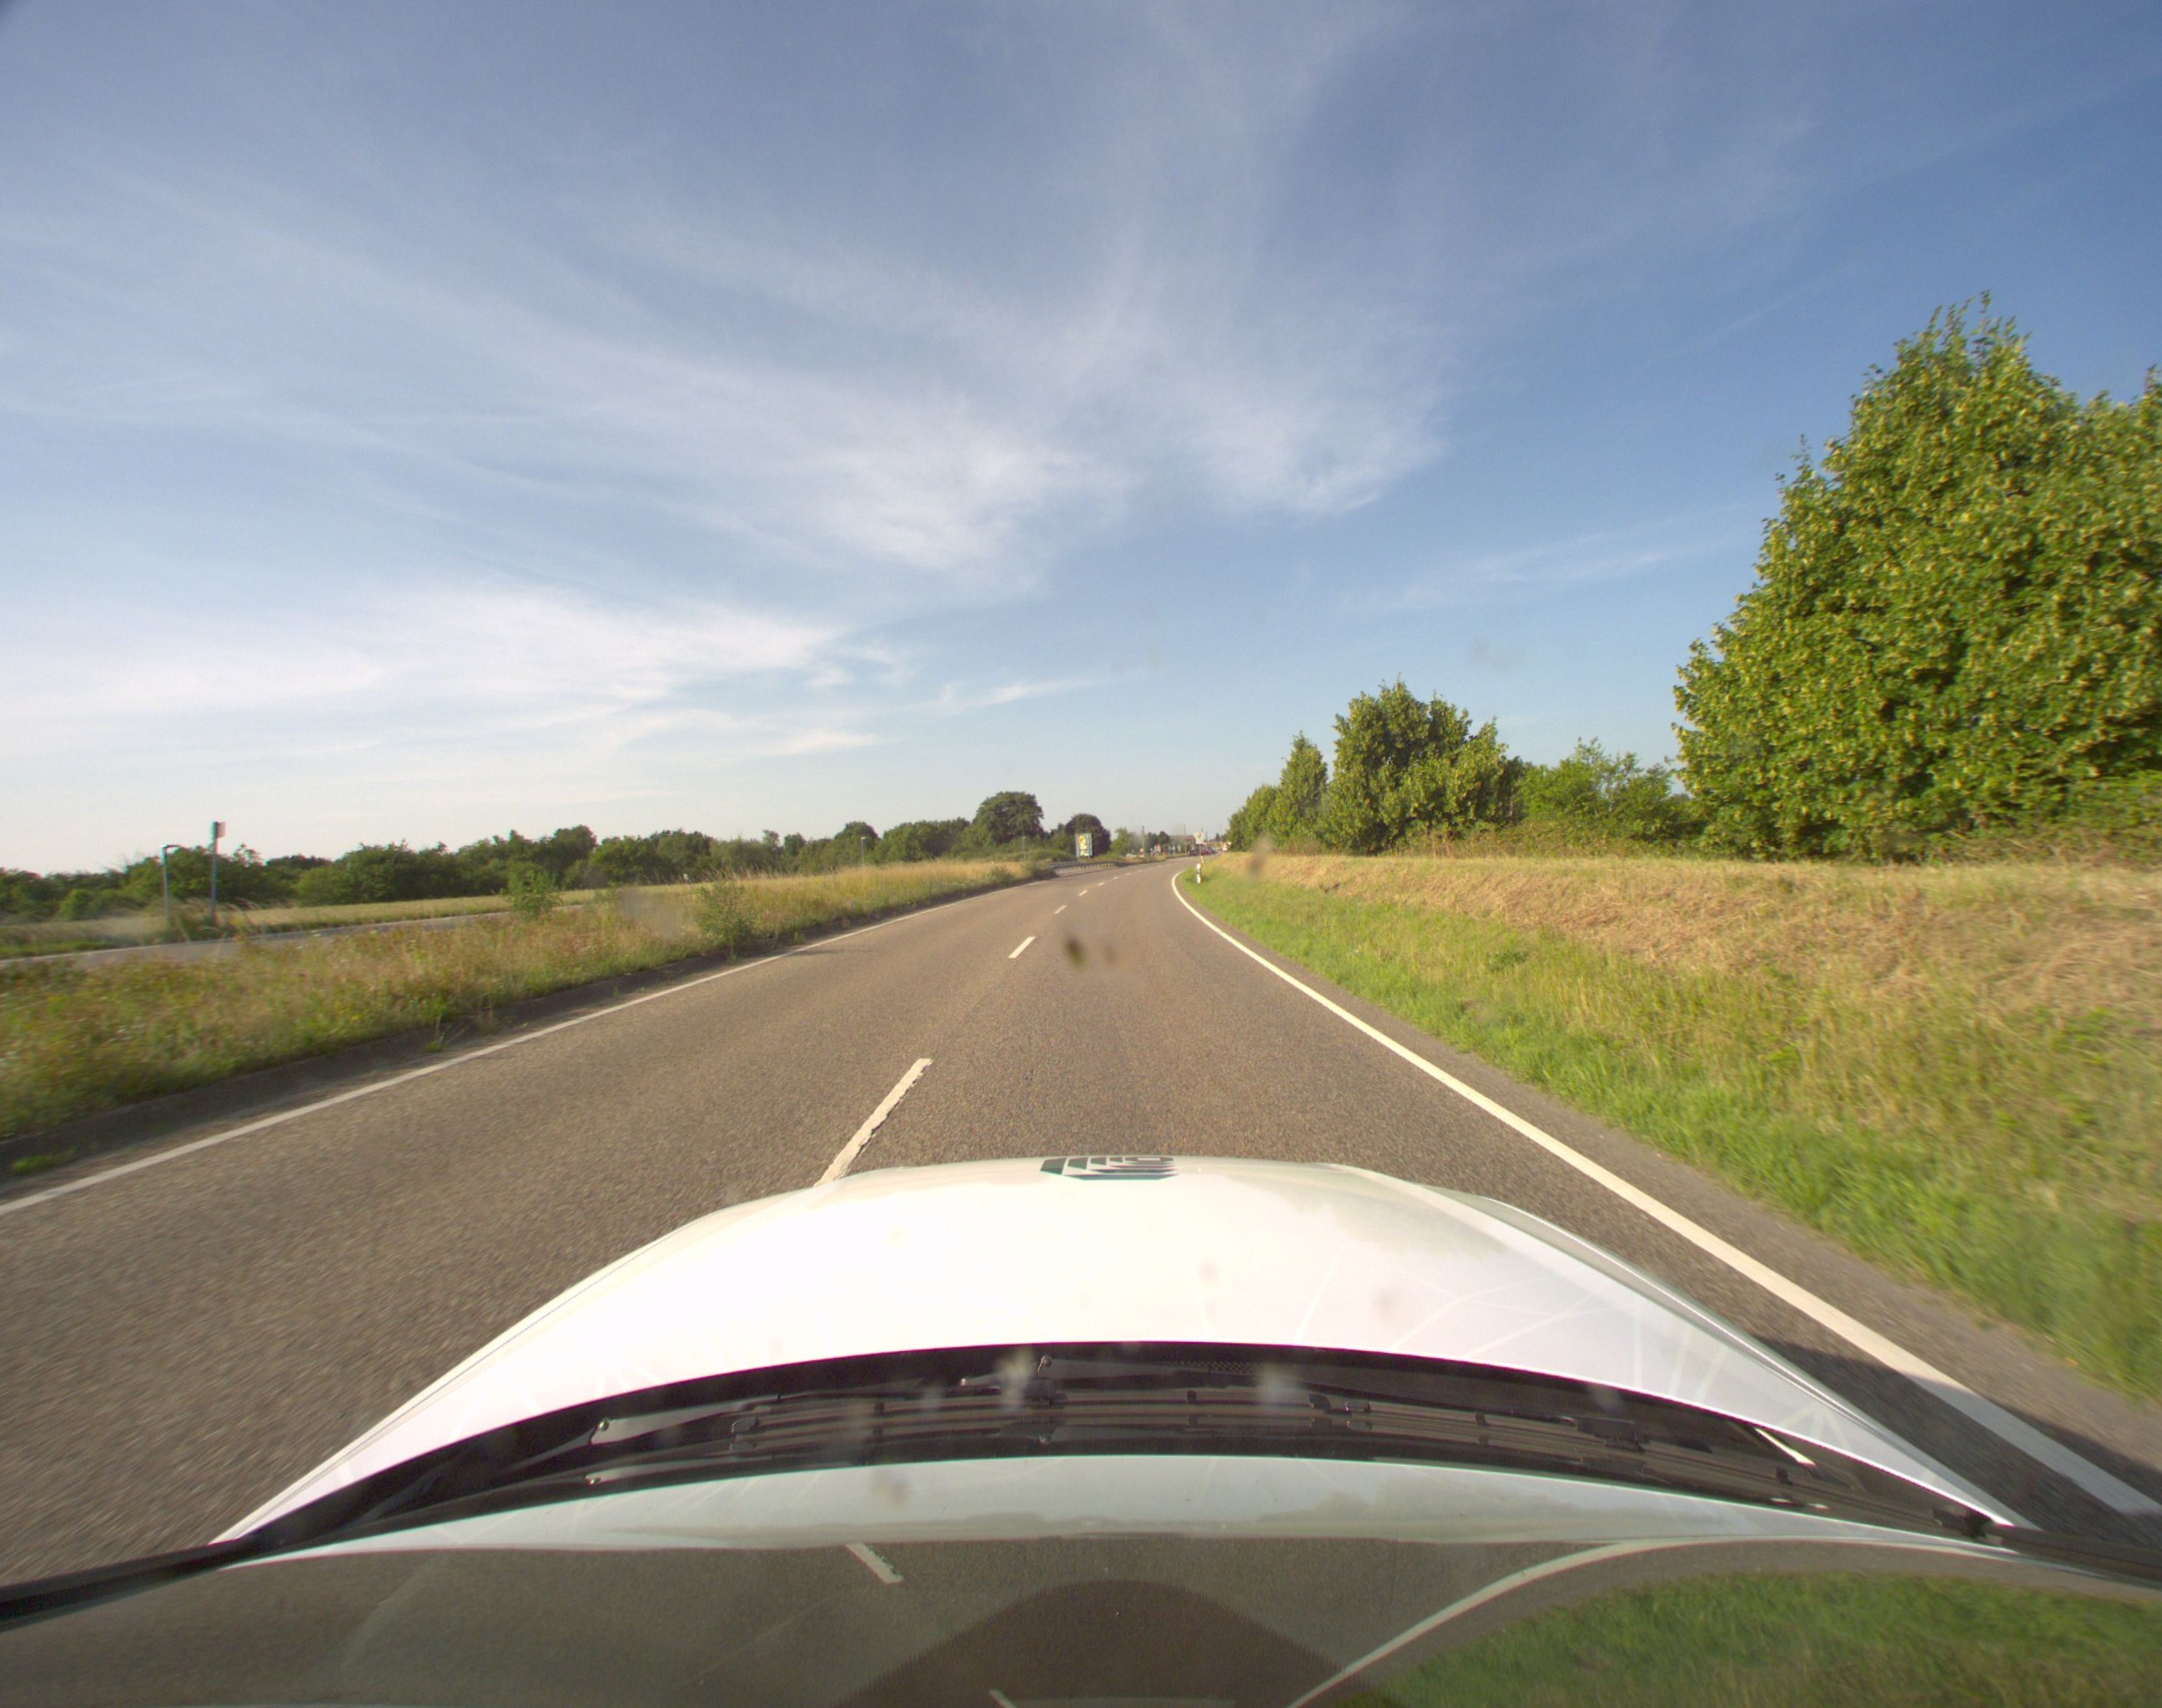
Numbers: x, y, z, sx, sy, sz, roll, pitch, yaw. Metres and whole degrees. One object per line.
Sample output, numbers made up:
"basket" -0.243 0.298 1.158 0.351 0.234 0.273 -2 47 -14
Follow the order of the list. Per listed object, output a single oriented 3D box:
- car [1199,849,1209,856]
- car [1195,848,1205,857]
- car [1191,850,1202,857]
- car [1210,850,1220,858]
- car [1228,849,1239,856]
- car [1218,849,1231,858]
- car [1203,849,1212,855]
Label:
"car" 29.045 -0.360 192.261 1.757 1.679 4.538 -3 0 15
"car" 27.099 -0.336 184.782 1.719 1.855 4.538 -3 0 15
"car" 25.234 -0.087 177.950 1.719 1.456 4.538 -3 0 15
"car" 35.960 -0.046 219.007 1.978 2.014 4.856 -3 -2 15
"car" 34.035 -0.339 181.340 1.979 1.552 4.016 -3 0 15
"car" 27.812 -0.073 157.828 1.979 1.552 4.016 -3 0 15
"car" 31.324 -0.472 201.680 1.757 1.471 4.031 -3 0 15
